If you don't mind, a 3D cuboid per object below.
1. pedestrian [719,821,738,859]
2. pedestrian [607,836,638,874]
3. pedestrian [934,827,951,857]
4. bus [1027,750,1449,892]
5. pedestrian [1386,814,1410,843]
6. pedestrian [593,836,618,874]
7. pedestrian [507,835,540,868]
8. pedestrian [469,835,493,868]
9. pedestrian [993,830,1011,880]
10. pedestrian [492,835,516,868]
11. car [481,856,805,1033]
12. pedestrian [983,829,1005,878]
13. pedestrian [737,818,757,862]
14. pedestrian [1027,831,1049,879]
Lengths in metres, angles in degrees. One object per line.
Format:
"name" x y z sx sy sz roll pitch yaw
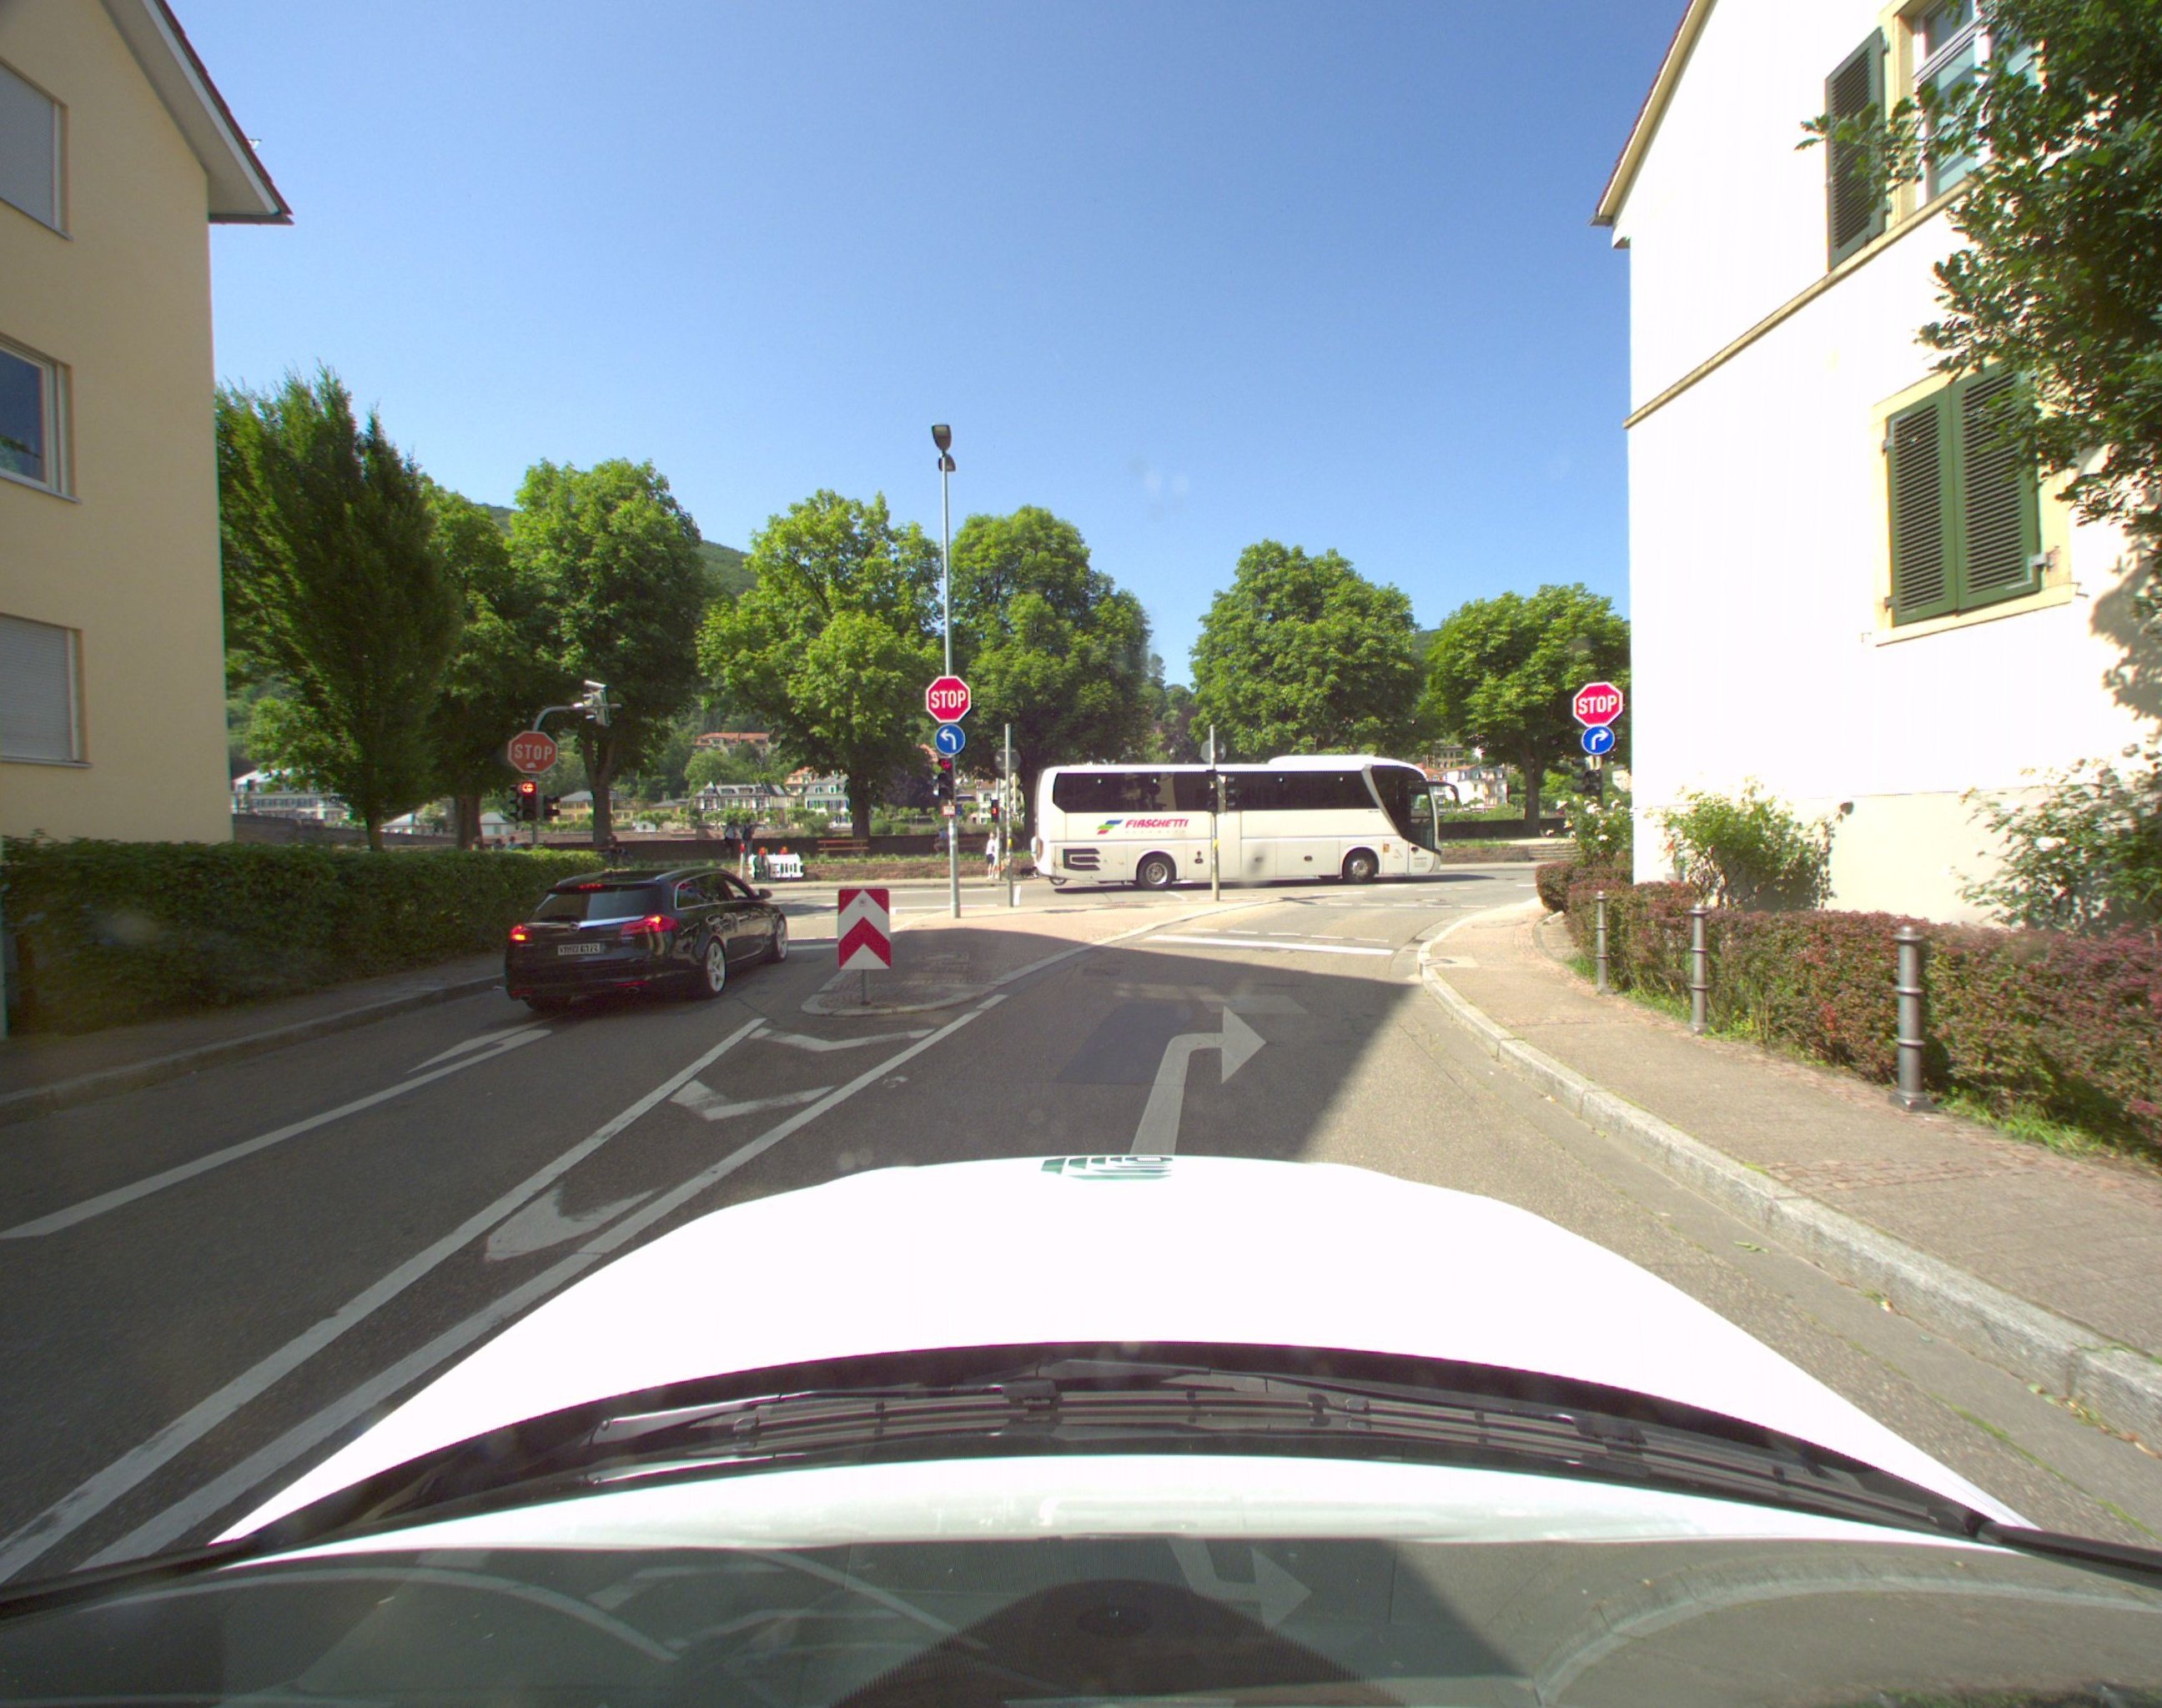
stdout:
"pedestrian" -16.426 -0.645 37.982 0.709 1.732 0.753 -1 0 -16
"pedestrian" -18.364 0.035 32.646 0.466 1.479 1.384 -1 1 -1
"pedestrian" -5.749 -0.500 33.736 0.643 1.228 0.412 -1 0 -16
"bus" 4.558 -1.016 24.457 12.129 3.788 2.900 -1 0 -7
"pedestrian" 14.076 -1.126 36.151 0.795 1.211 0.715 1 -2 -2
"pedestrian" -18.901 0.030 32.367 0.466 1.493 0.804 -1 1 -1
"pedestrian" -22.143 -0.100 32.358 0.466 1.270 1.223 -1 1 -1
"pedestrian" -23.560 -0.099 31.978 0.466 1.270 0.631 -1 1 -1
"pedestrian" -2.902 0.030 30.047 0.576 1.801 0.705 -1 0 -3
"pedestrian" -22.679 -0.096 32.017 0.466 1.270 0.631 -1 1 -1
"car" -4.869 0.841 9.964 1.712 1.462 4.715 -3 1 -6
"pedestrian" -3.284 -0.017 30.913 0.720 1.802 0.633 -2 0 -3
"pedestrian" -14.460 -0.599 35.264 0.766 1.857 0.751 -1 0 -23
"pedestrian" -1.645 0.030 31.092 0.688 1.769 0.714 -2 0 -12
